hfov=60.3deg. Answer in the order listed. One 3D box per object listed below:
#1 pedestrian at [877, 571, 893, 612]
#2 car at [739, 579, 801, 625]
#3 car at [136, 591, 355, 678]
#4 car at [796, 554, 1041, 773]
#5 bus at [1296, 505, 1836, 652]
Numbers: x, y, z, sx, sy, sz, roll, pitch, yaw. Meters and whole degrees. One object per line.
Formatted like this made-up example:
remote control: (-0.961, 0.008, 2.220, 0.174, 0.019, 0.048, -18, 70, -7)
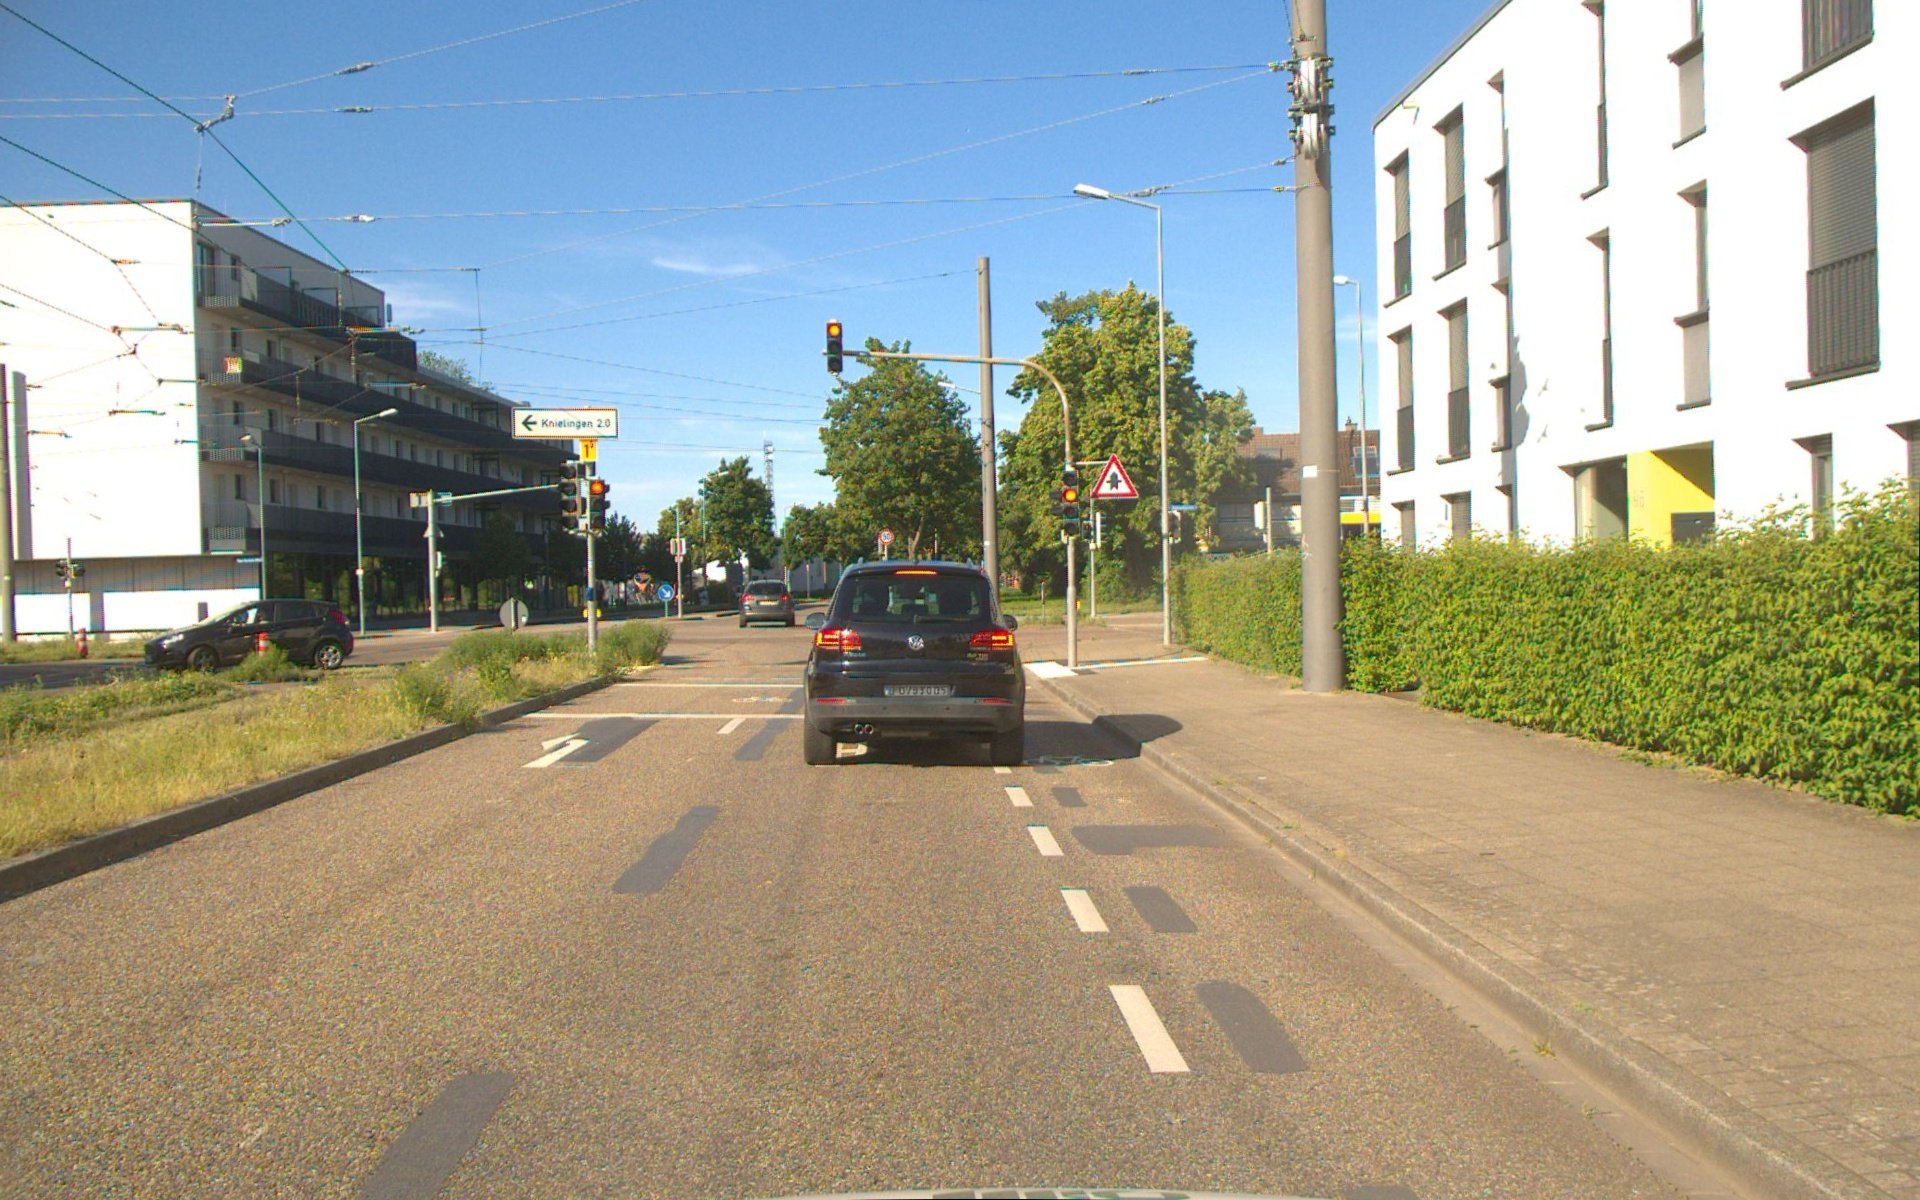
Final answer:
pedestrian: (-3.078, -0.356, 68.123, 0.590, 1.668, 0.529, 0, 1, 3)
car: (-6.076, 0.039, 53.208, 1.716, 1.411, 3.998, 0, 1, -3)
car: (-14.470, 0.676, 33.592, 3.711, 1.455, 1.682, -5, 2, -43)
car: (-0.417, 0.452, 14.679, 1.868, 1.671, 3.998, 0, 1, -3)
bus: (16.397, -0.612, 44.763, 14.371, 3.735, 2.841, 0, 1, -11)
